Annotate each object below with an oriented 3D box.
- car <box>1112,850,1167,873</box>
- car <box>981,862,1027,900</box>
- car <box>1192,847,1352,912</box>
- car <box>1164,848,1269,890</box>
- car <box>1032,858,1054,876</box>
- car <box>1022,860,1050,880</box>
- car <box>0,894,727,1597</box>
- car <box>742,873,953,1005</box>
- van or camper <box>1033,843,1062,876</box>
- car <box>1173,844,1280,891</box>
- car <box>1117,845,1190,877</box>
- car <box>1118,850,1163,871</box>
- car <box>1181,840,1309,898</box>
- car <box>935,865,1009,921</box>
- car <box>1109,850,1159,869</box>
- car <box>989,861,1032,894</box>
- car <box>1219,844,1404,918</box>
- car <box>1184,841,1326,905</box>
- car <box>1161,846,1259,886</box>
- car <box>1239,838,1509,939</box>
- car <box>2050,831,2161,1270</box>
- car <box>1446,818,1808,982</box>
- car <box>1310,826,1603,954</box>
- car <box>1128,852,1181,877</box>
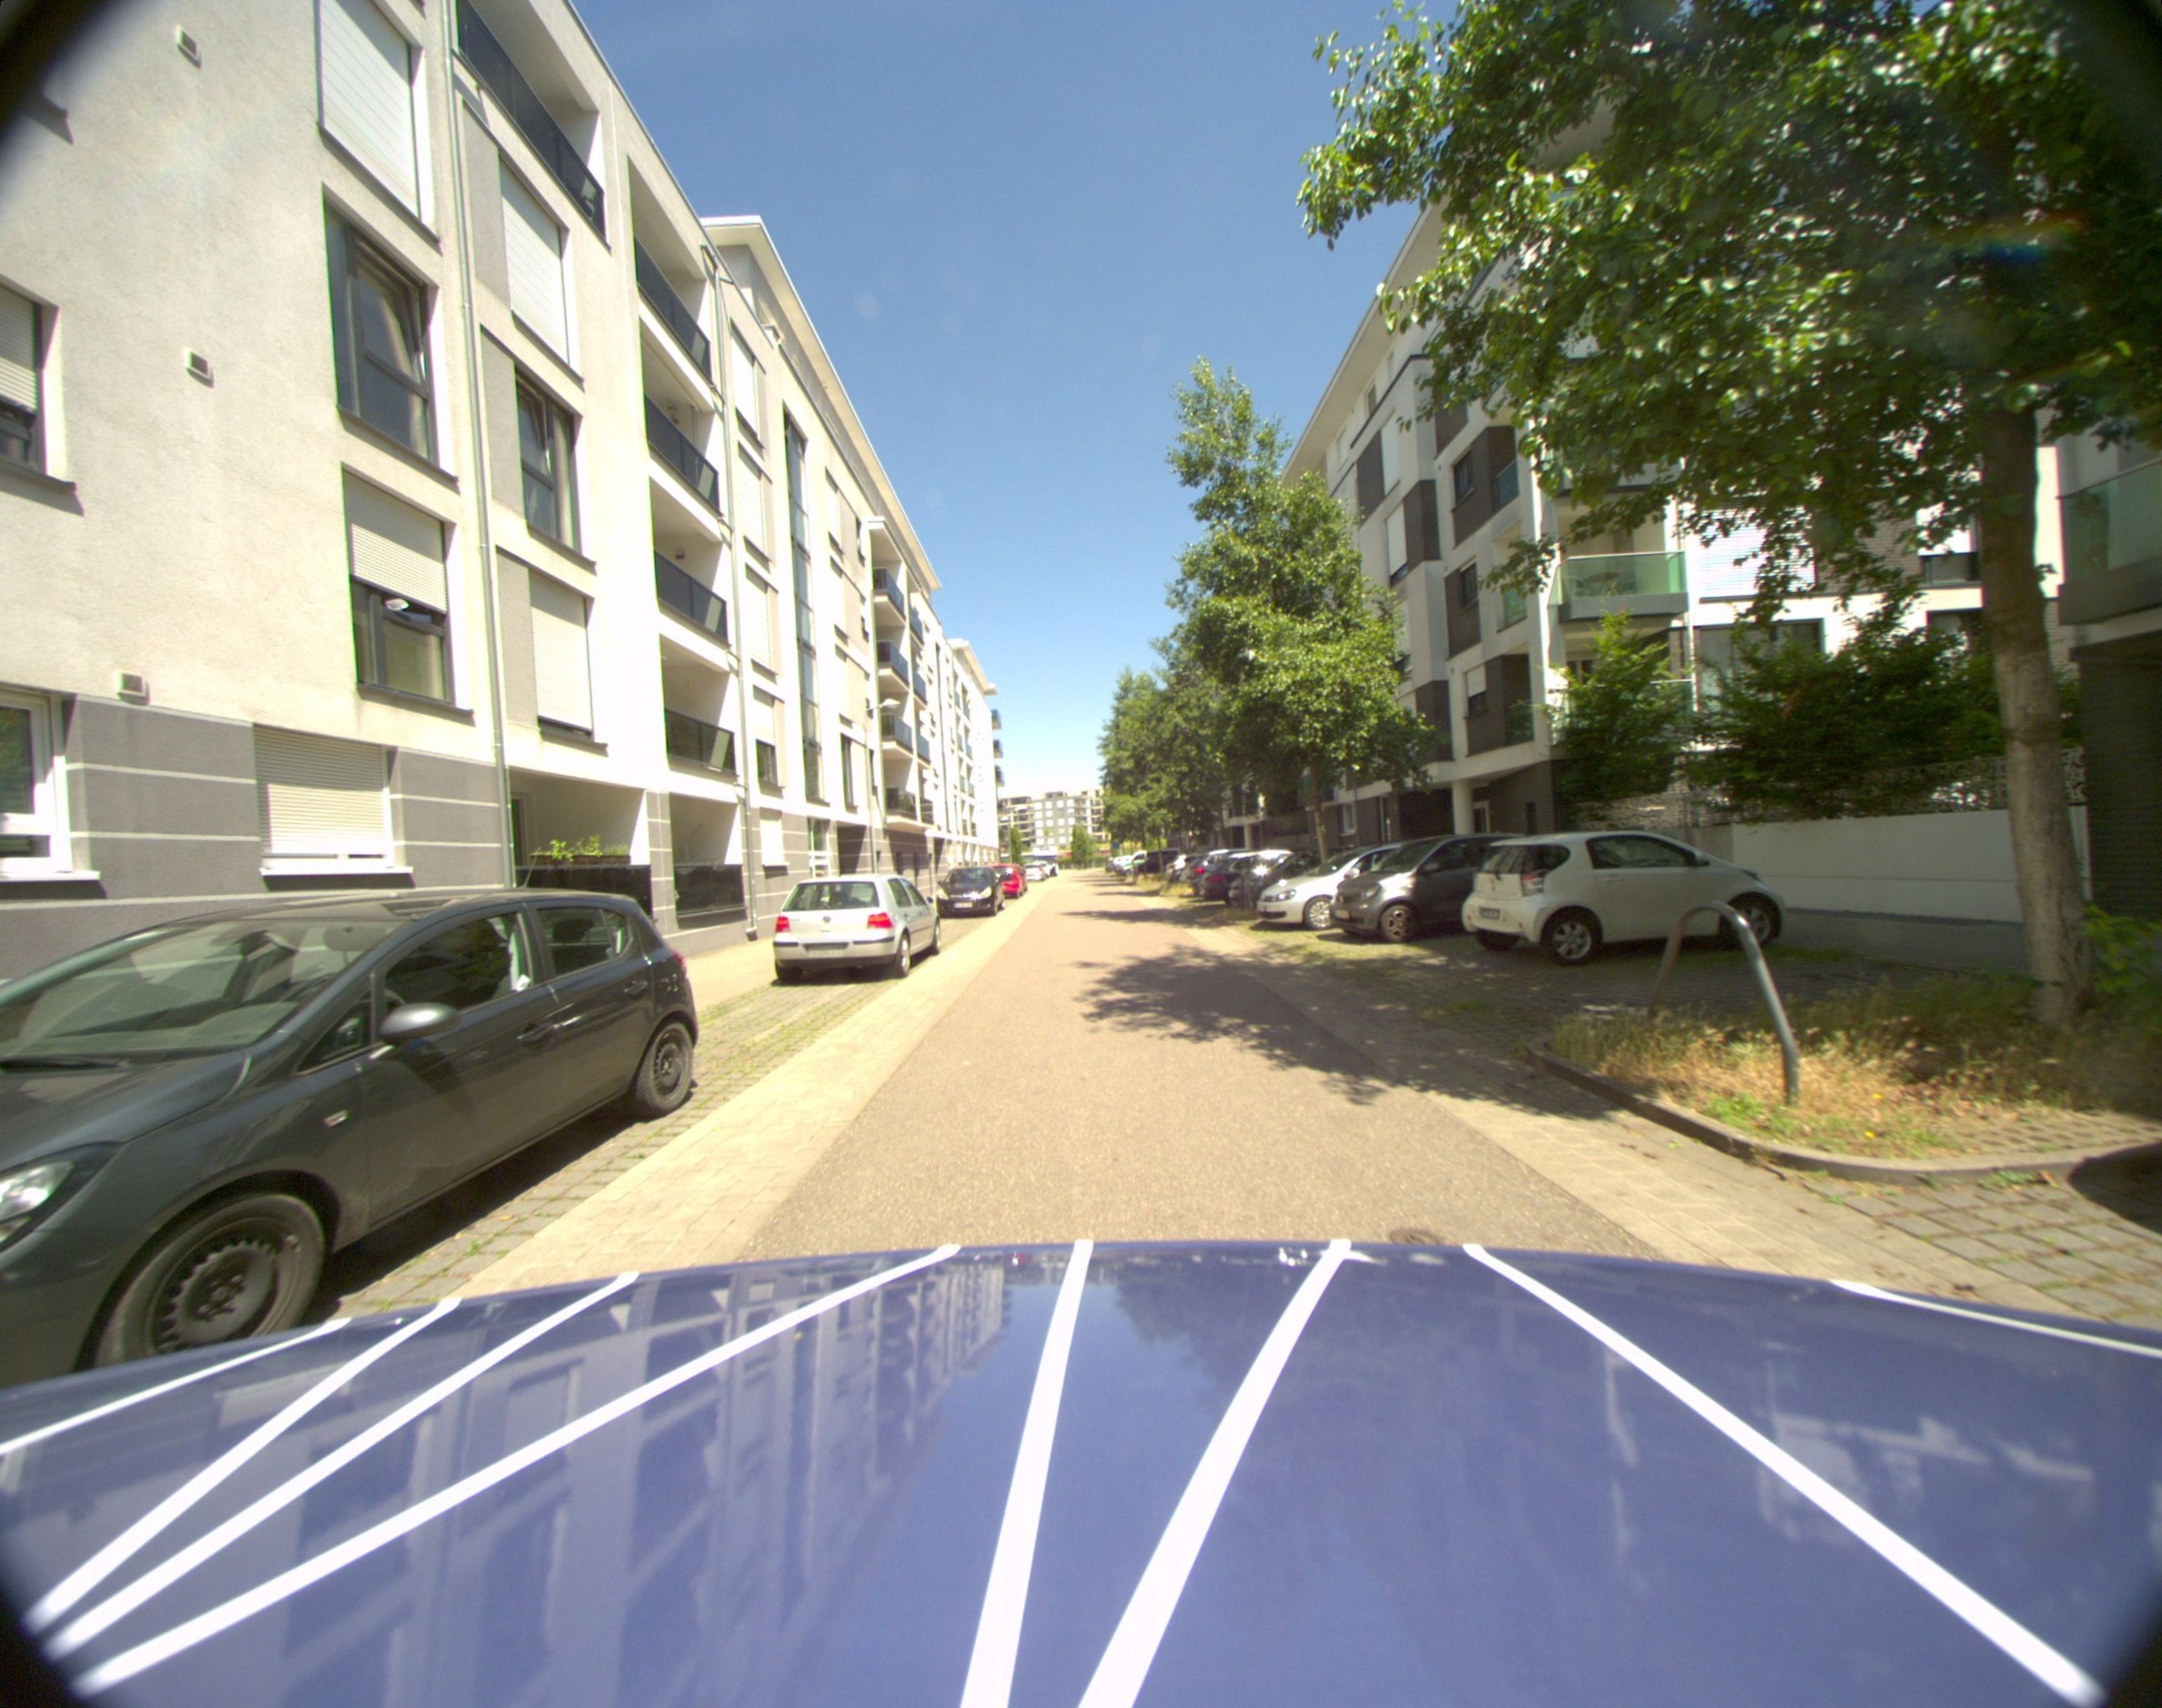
[{"bbox_3d":[5.304,0.679,68.778,4.571,1.584,1.966,-5,0,-5],"label":"car"},{"bbox_3d":[-3.262,1.116,32.805,1.599,1.477,3.675,-2,0,0],"label":"car"},{"bbox_3d":[5.360,0.690,21.614,3.985,1.437,1.775,-5,0,-4],"label":"car"},{"bbox_3d":[6.044,0.652,34.256,4.327,1.467,1.793,-5,0,0],"label":"car"},{"bbox_3d":[-3.408,1.178,68.524,1.812,1.496,4.260,-2,0,-2],"label":"car"},{"bbox_3d":[-3.484,1.219,59.510,1.850,1.408,4.426,-4,0,1],"label":"car"},{"bbox_3d":[-3.440,1.049,3.328,1.743,1.476,4.229,-2,0,0],"label":"car"},{"bbox_3d":[-3.278,1.110,11.647,1.839,1.496,4.350,-2,0,0],"label":"car"},{"bbox_3d":[-3.226,0.464,74.807,2.445,2.889,7.825,-4,1,-1],"label":"van or camper"},{"bbox_3d":[5.987,0.549,31.694,3.997,1.582,1.884,-5,0,0],"label":"car"},{"bbox_3d":[5.557,0.516,58.601,5.355,2.098,2.187,-3,0,2],"label":"car"},{"bbox_3d":[5.573,0.627,71.410,3.990,1.619,1.950,-5,0,2],"label":"car"},{"bbox_3d":[5.698,0.510,26.783,3.997,1.620,1.933,-5,0,0],"label":"car"},{"bbox_3d":[-3.195,1.116,23.036,1.647,1.454,4.117,-2,0,-1],"label":"car"},{"bbox_3d":[5.679,0.613,81.356,5.042,1.622,2.042,-4,0,-3],"label":"car"},{"bbox_3d":[-3.485,1.141,38.340,1.742,1.478,4.258,-2,0,0],"label":"car"},{"bbox_3d":[5.683,0.649,19.137,3.997,1.414,1.897,-5,0,1],"label":"car"},{"bbox_3d":[5.459,0.585,24.258,3.997,1.641,1.918,-5,0,2],"label":"car"},{"bbox_3d":[6.158,0.561,36.701,4.263,1.509,1.924,-6,0,-1],"label":"car"},{"bbox_3d":[5.475,0.617,14.598,4.372,1.700,2.000,-2,0,-3],"label":"car"},{"bbox_3d":[5.767,0.549,2.018,3.948,1.544,1.872,-5,0,-1],"label":"car"},{"bbox_3d":[6.389,0.503,9.180,2.940,1.491,1.848,-6,0,-1],"label":"car"},{"bbox_3d":[5.878,0.522,12.183,3.719,1.576,1.820,-5,0,-5],"label":"car"},{"bbox_3d":[5.368,0.764,55.811,3.632,1.473,1.678,-5,0,-1],"label":"car"}]
